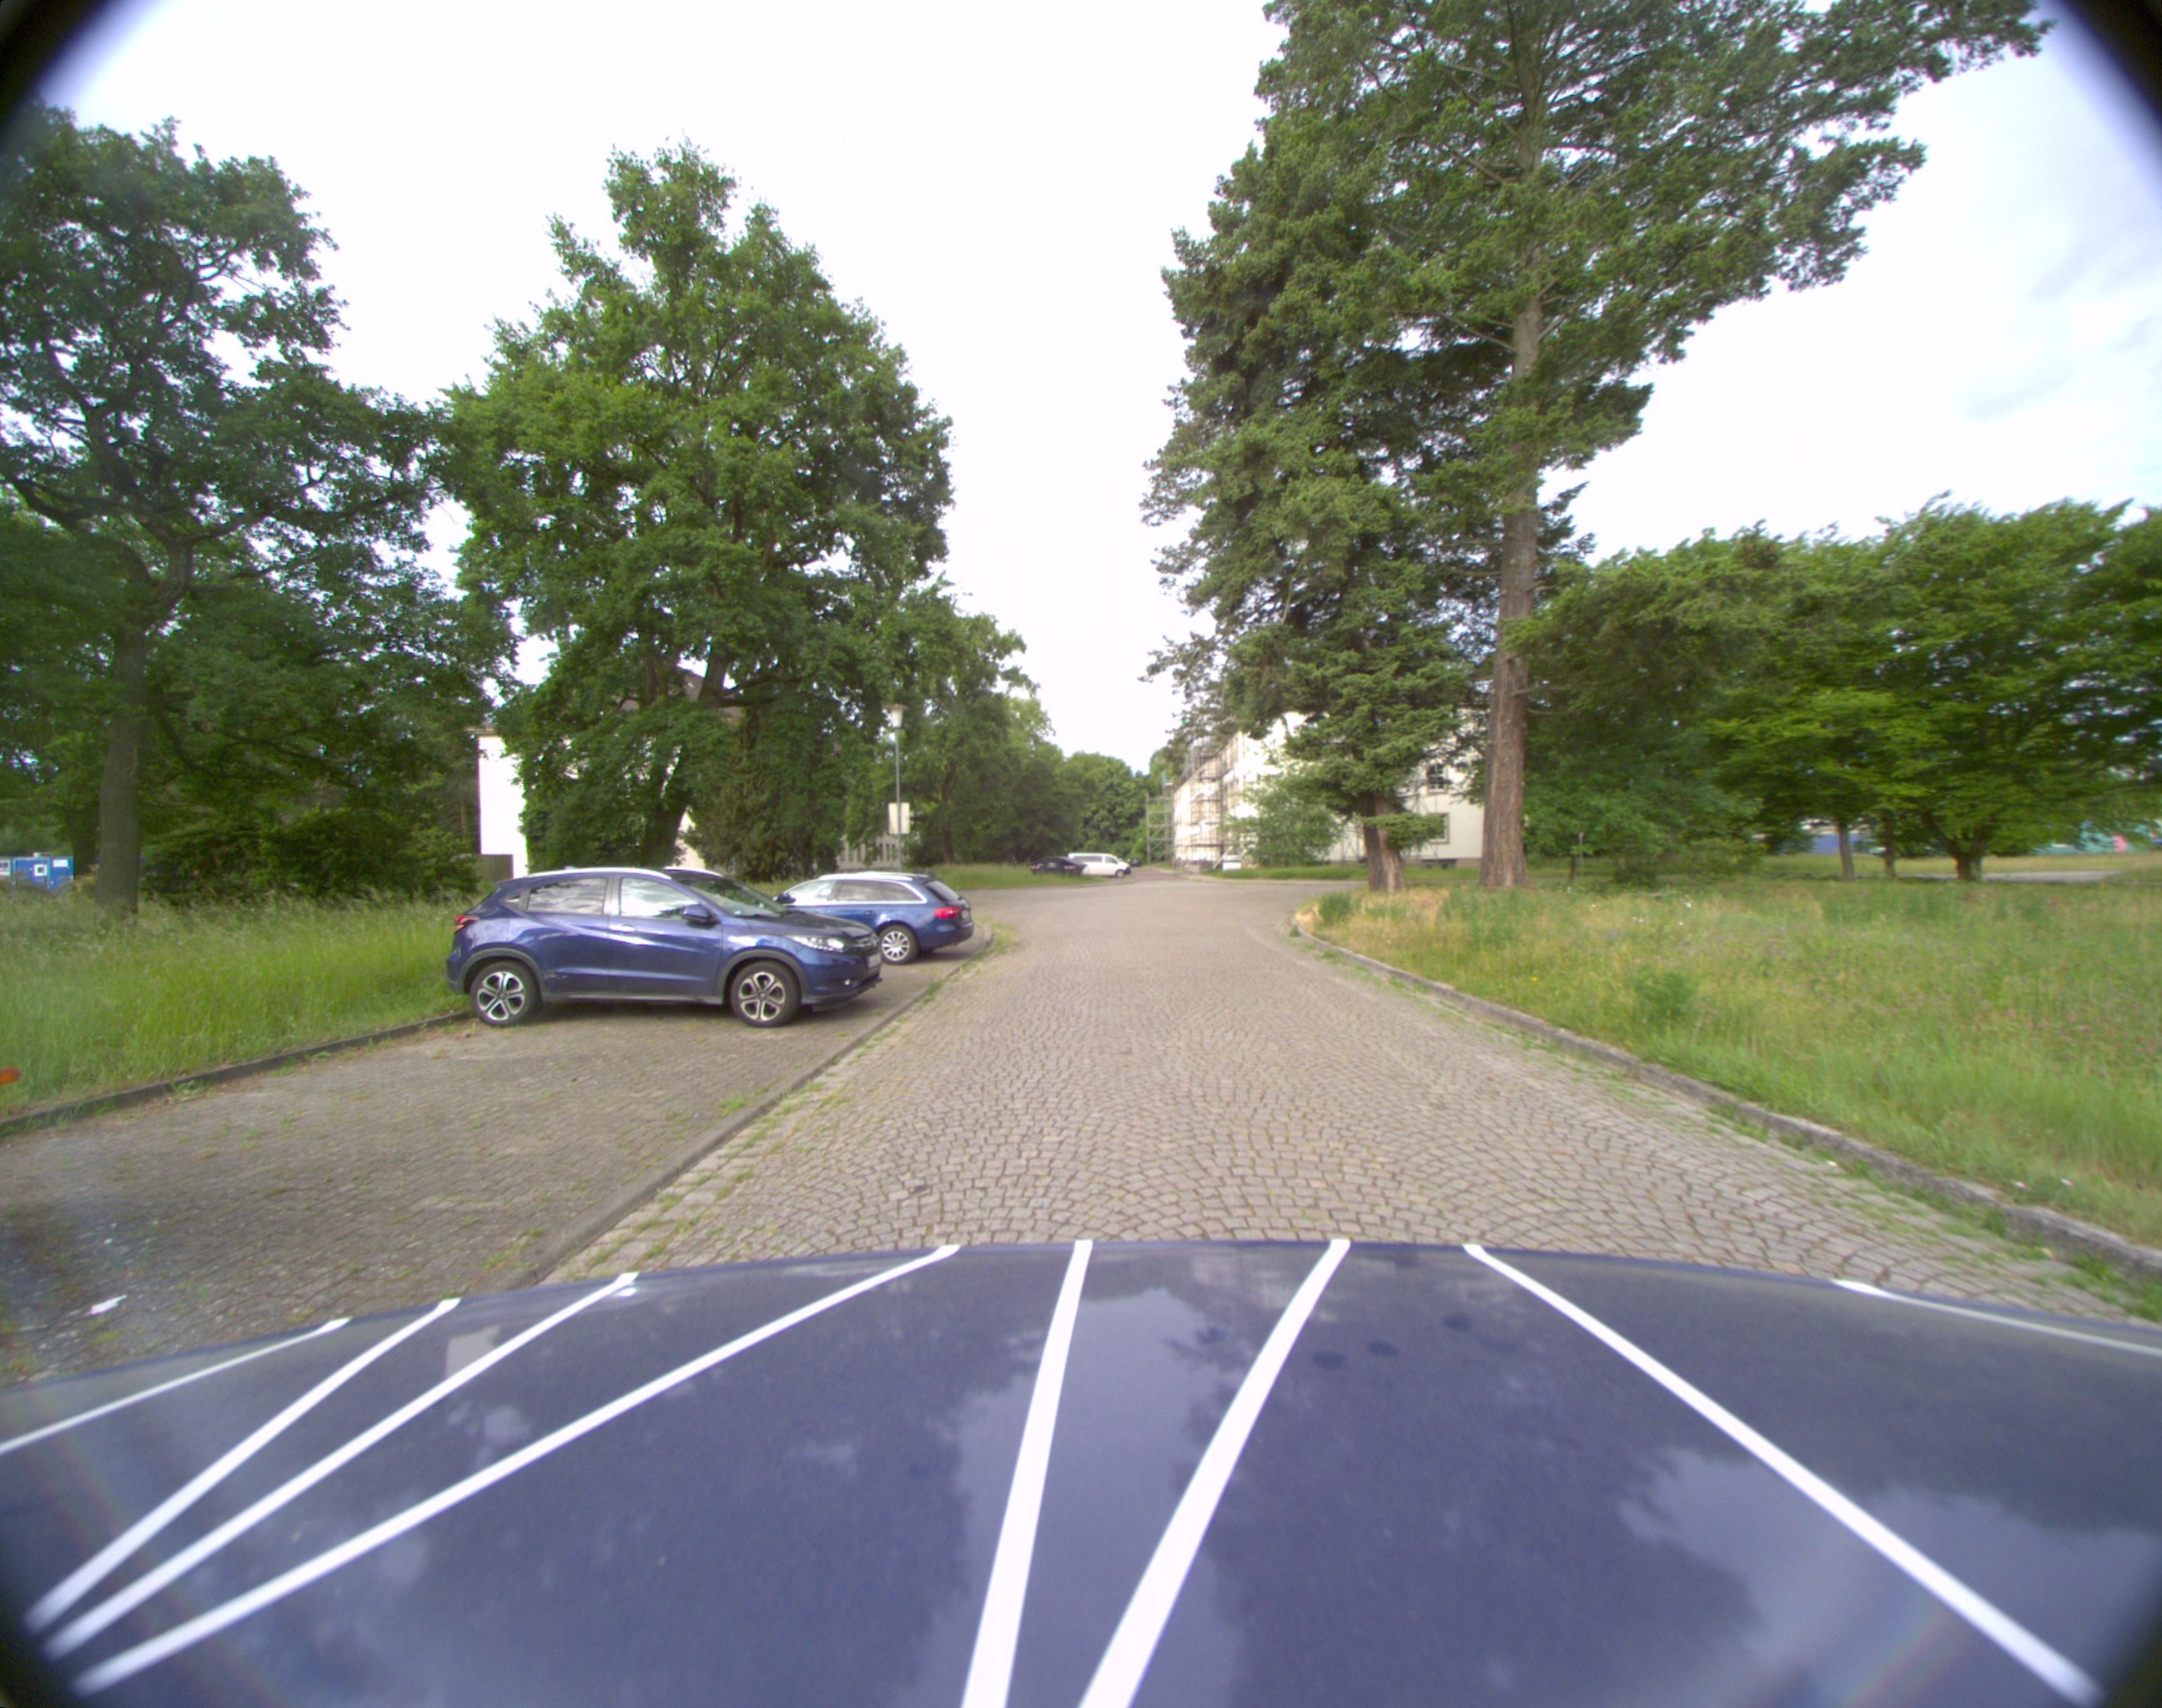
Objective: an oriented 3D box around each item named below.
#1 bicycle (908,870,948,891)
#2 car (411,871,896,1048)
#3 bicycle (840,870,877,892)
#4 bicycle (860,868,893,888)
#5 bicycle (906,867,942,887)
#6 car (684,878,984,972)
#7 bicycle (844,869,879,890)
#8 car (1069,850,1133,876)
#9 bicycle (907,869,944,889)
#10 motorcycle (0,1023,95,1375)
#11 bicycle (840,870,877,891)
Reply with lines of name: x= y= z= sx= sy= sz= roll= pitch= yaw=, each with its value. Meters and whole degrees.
bicycle: x=-8.372 y=1.433 z=41.587 sx=1.976 sy=1.070 sz=0.587 roll=-2 pitch=1 yaw=-26
car: x=-4.338 y=1.044 z=8.194 sx=4.172 sy=1.562 sz=1.793 roll=-1 pitch=1 yaw=2
bicycle: x=-12.273 y=1.472 z=41.923 sx=1.859 sy=1.116 sz=0.621 roll=-2 pitch=1 yaw=-21
bicycle: x=-12.498 y=1.455 z=46.421 sx=1.859 sy=1.116 sz=0.621 roll=-2 pitch=1 yaw=-21
bicycle: x=-9.358 y=1.376 z=45.302 sx=2.032 sy=1.070 sz=0.621 roll=-2 pitch=1 yaw=-21
car: x=-4.046 y=1.141 z=12.888 sx=4.479 sy=1.413 sz=1.785 roll=0 pitch=0 yaw=5
bicycle: x=-12.767 y=1.484 z=44.207 sx=1.859 sy=1.116 sz=0.621 roll=-2 pitch=1 yaw=-21
car: x=1.628 y=0.733 z=61.602 sx=5.100 sy=2.007 sz=2.055 roll=0 pitch=0 yaw=1
bicycle: x=-8.842 y=1.412 z=43.181 sx=1.976 sy=1.070 sz=0.587 roll=-2 pitch=1 yaw=-26
motorcycle: x=-4.949 y=1.245 z=2.492 sx=2.333 sy=1.179 sz=0.795 roll=-1 pitch=1 yaw=-1
bicycle: x=-12.456 y=1.477 z=42.539 sx=1.859 sy=1.116 sz=0.621 roll=-2 pitch=1 yaw=-21
